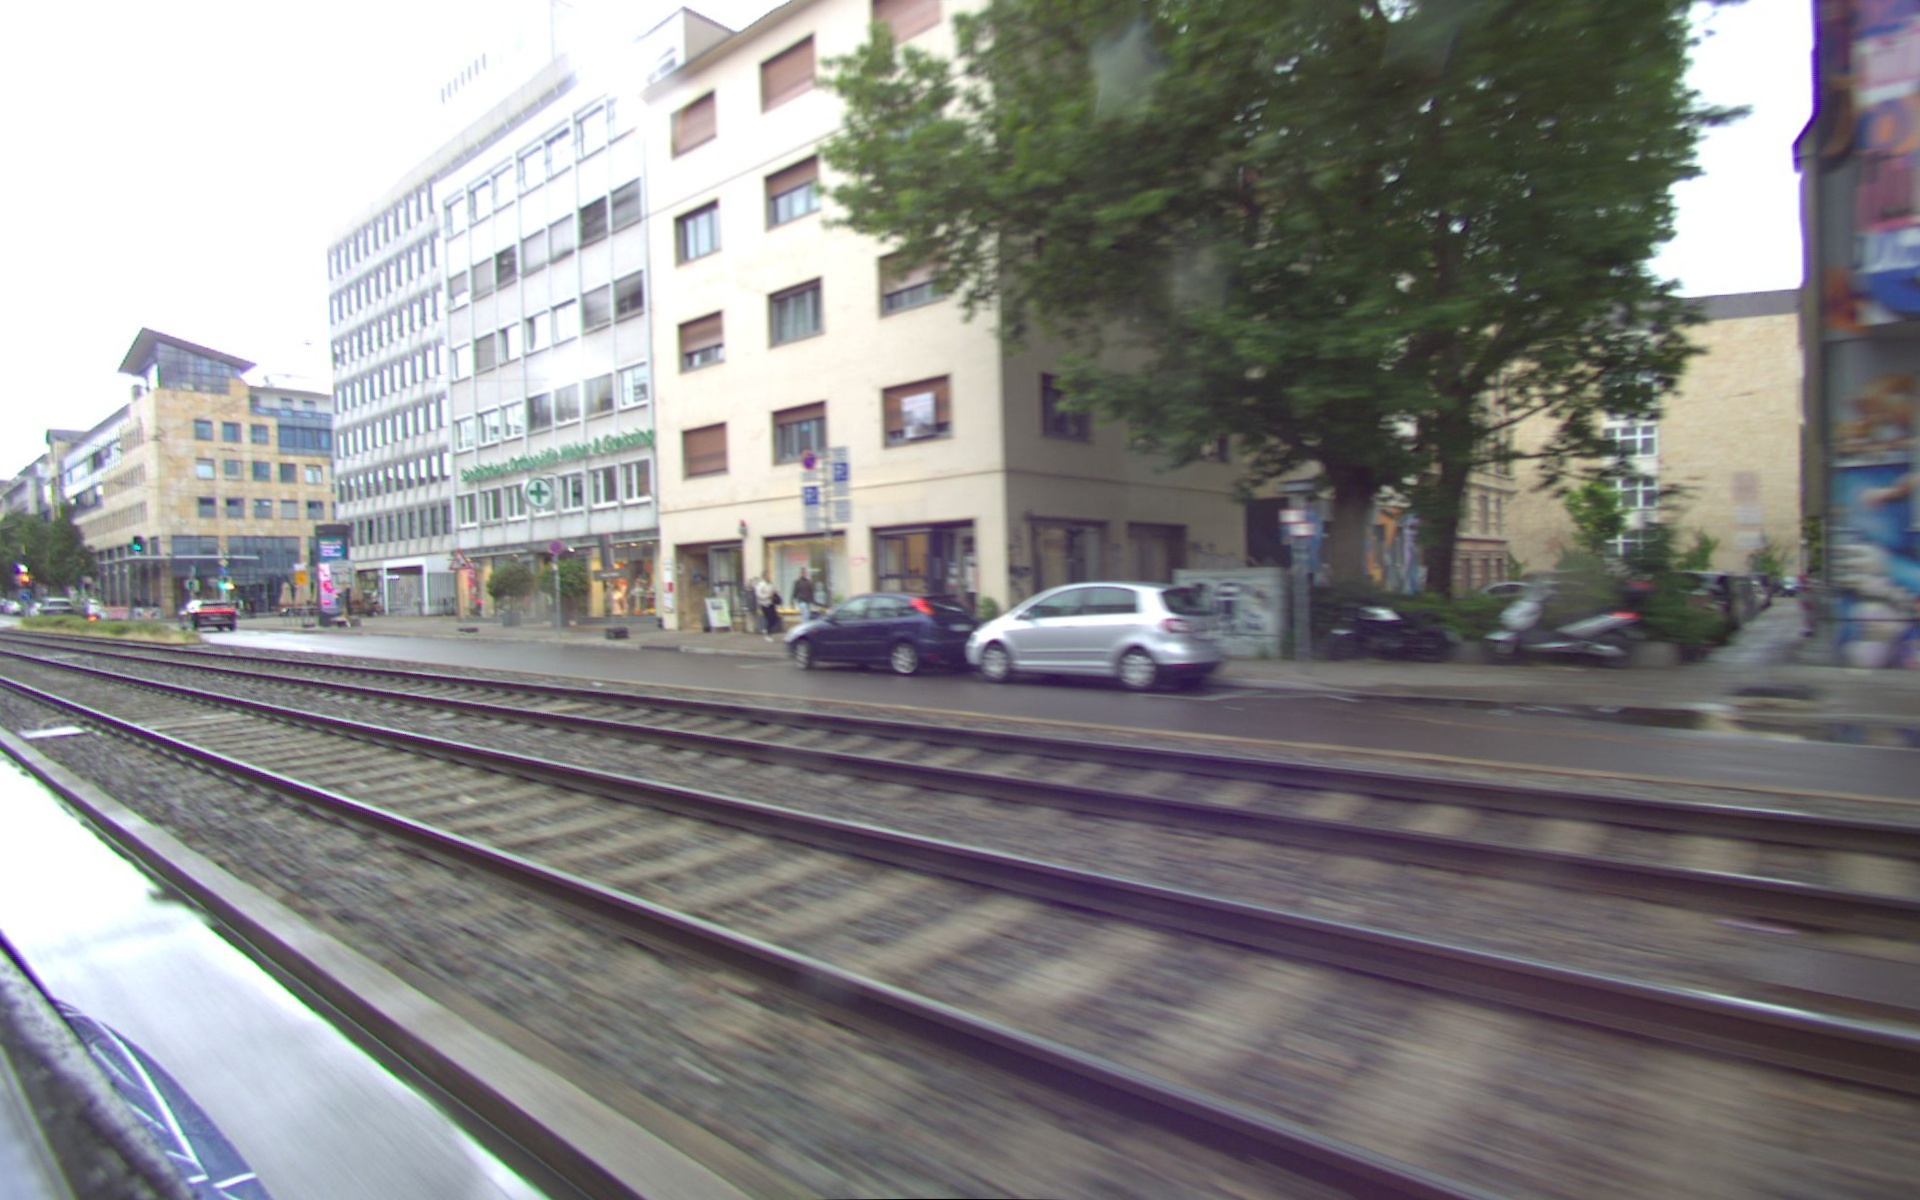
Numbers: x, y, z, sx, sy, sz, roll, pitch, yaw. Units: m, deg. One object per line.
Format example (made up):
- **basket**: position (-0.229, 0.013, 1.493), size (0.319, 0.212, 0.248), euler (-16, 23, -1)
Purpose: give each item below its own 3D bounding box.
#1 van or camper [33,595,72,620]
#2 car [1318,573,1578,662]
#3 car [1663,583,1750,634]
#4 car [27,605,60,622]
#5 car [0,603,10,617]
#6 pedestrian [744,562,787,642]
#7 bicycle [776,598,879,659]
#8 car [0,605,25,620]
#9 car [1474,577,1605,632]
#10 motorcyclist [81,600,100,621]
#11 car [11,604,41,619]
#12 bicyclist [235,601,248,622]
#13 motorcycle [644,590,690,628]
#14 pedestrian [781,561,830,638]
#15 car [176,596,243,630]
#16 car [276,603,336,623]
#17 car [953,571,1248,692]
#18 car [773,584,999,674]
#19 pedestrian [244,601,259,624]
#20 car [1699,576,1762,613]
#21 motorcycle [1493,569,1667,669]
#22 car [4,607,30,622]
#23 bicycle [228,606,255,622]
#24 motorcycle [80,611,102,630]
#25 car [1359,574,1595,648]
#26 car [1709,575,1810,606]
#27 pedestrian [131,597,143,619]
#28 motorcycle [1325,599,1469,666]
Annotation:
- **van or camper**: position (-80.805, 0.637, 90.067), size (5.196, 2.012, 1.996), euler (1, 2, 42)
- **car**: position (9.031, 0.309, 18.872), size (3.997, 1.465, 1.973), euler (-1, 0, 40)
- **car**: position (22.153, 0.218, 29.991), size (1.793, 1.375, 3.946), euler (-1, 0, 40)
- **car**: position (-86.472, 1.289, 95.463), size (4.252, 1.497, 1.672), euler (-1, 1, 40)
- **car**: position (-111.387, 1.114, 117.204), size (4.620, 1.552, 1.632), euler (0, 1, 42)
- **pedestrian**: position (-4.790, 0.043, 24.931), size (0.742, 1.910, 0.671), euler (0, 2, 41)
- **bicycle**: position (-2.879, 0.584, 21.800), size (2.397, 1.236, 0.586), euler (0, 2, 34)
- **car**: position (-102.014, 1.299, 108.957), size (4.291, 1.509, 1.632), euler (0, 1, 42)
- **car**: position (22.691, 0.165, 39.773), size (3.953, 2.029, 1.995), euler (-1, 0, 8)
- **motorcyclist**: position (-51.211, 0.627, 59.596), size (0.970, 1.226, 0.733), euler (0, 2, 43)
- **car**: position (-94.367, 1.172, 102.251), size (3.997, 1.497, 1.672), euler (-1, 1, 40)
- **bicyclist**: position (-61.150, 0.967, 86.125), size (0.783, 1.818, 0.701), euler (-1, 1, 41)
- **motorcycle**: position (-9.463, 0.283, 32.716), size (0.385, 1.188, 1.462), euler (-1, 1, 40)
- **pedestrian**: position (-3.899, -0.026, 25.565), size (0.982, 1.910, 0.720), euler (0, 2, 41)
- **car**: position (-37.694, 0.640, 50.783), size (4.445, 1.530, 1.971), euler (-1, 2, 44)
- **car**: position (-55.583, 1.083, 86.073), size (1.890, 1.541, 3.945), euler (-1, 1, 42)
- **car**: position (2.040, 0.424, 15.453), size (4.218, 1.582, 1.704), euler (-1, 1, 41)
- **car**: position (-1.452, 0.486, 18.716), size (4.218, 1.480, 1.726), euler (-1, 0, 41)
- **pedestrian**: position (-55.313, 0.974, 79.009), size (0.667, 1.794, 0.705), euler (-2, 1, -14)
- **car**: position (30.946, -0.233, 40.618), size (1.793, 1.375, 3.946), euler (-1, 0, 40)
- **motorcycle**: position (9.142, 0.269, 14.990), size (2.118, 1.389, 0.633), euler (-1, 1, 40)
- **car**: position (-98.127, 1.464, 105.296), size (4.191, 1.509, 1.632), euler (0, 1, 42)
- **bicycle**: position (-61.204, 1.212, 86.183), size (0.659, 1.321, 1.746), euler (-2, 0, 40)
- **motorcycle**: position (-51.203, 1.203, 59.620), size (1.931, 1.067, 0.734), euler (0, 2, 43)
- **car**: position (10.628, 0.220, 20.919), size (3.997, 1.375, 1.973), euler (-1, 0, 40)
- **car**: position (38.174, -0.435, 48.440), size (1.746, 1.375, 3.641), euler (-1, 0, -4)
- **pedestrian**: position (-71.998, 0.694, 88.485), size (0.679, 1.828, 0.693), euler (-1, 1, 44)
- **motorcycle**: position (7.268, 0.523, 16.903), size (2.118, 1.040, 0.633), euler (-1, 1, 40)
